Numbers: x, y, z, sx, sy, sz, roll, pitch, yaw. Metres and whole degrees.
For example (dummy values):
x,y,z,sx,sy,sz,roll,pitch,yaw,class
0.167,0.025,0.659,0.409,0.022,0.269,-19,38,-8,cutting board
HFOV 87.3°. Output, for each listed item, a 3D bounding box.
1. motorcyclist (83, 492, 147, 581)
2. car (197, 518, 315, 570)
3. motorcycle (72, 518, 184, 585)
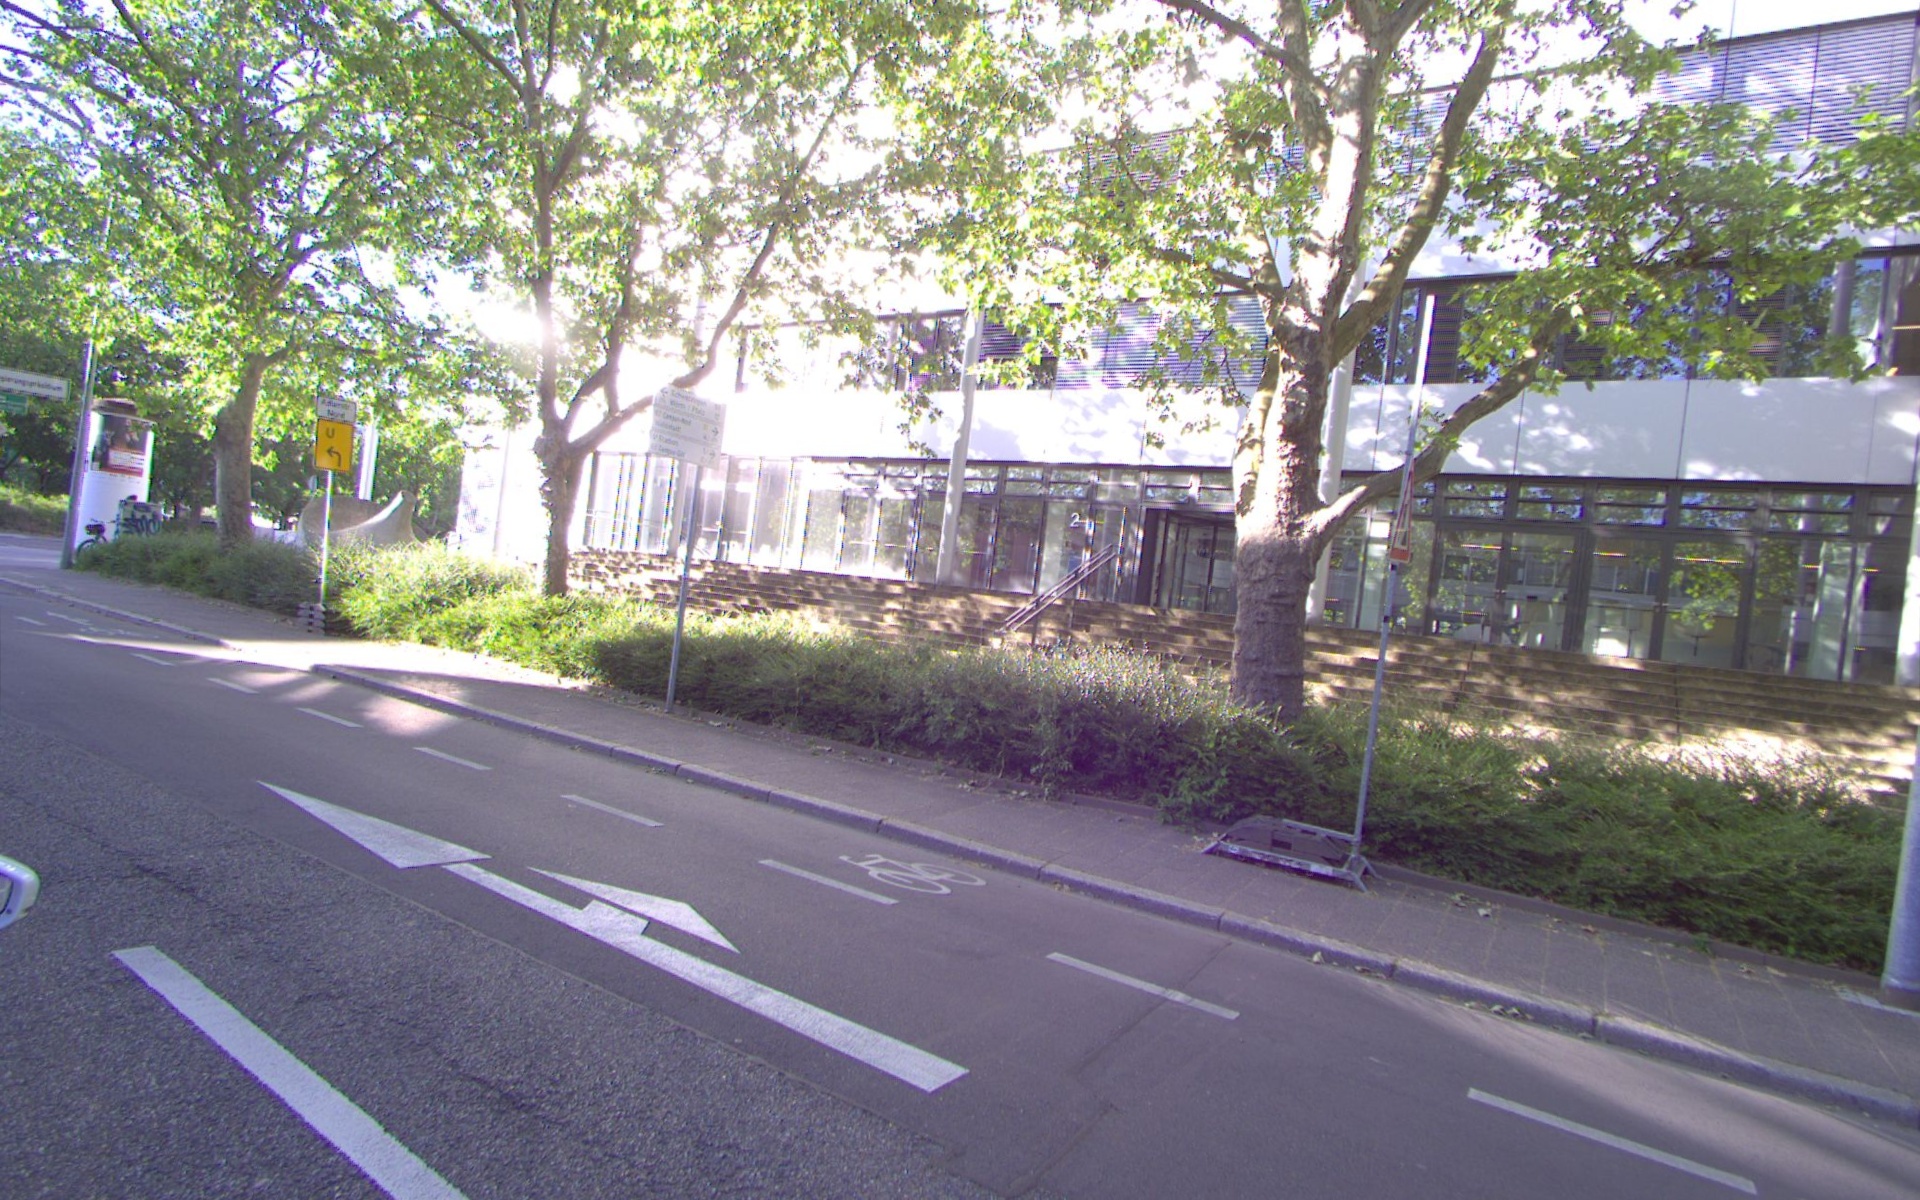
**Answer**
x,y,z,sx,sy,sz,roll,pitch,yaw,class
-19.355,-1.455,23.039,0.662,1.885,0.823,6,-1,37,motorcyclist
-32.700,-2.575,46.830,1.708,1.792,3.995,7,-1,30,car
-19.228,-1.100,23.287,0.712,1.257,1.782,6,-2,37,motorcycle
